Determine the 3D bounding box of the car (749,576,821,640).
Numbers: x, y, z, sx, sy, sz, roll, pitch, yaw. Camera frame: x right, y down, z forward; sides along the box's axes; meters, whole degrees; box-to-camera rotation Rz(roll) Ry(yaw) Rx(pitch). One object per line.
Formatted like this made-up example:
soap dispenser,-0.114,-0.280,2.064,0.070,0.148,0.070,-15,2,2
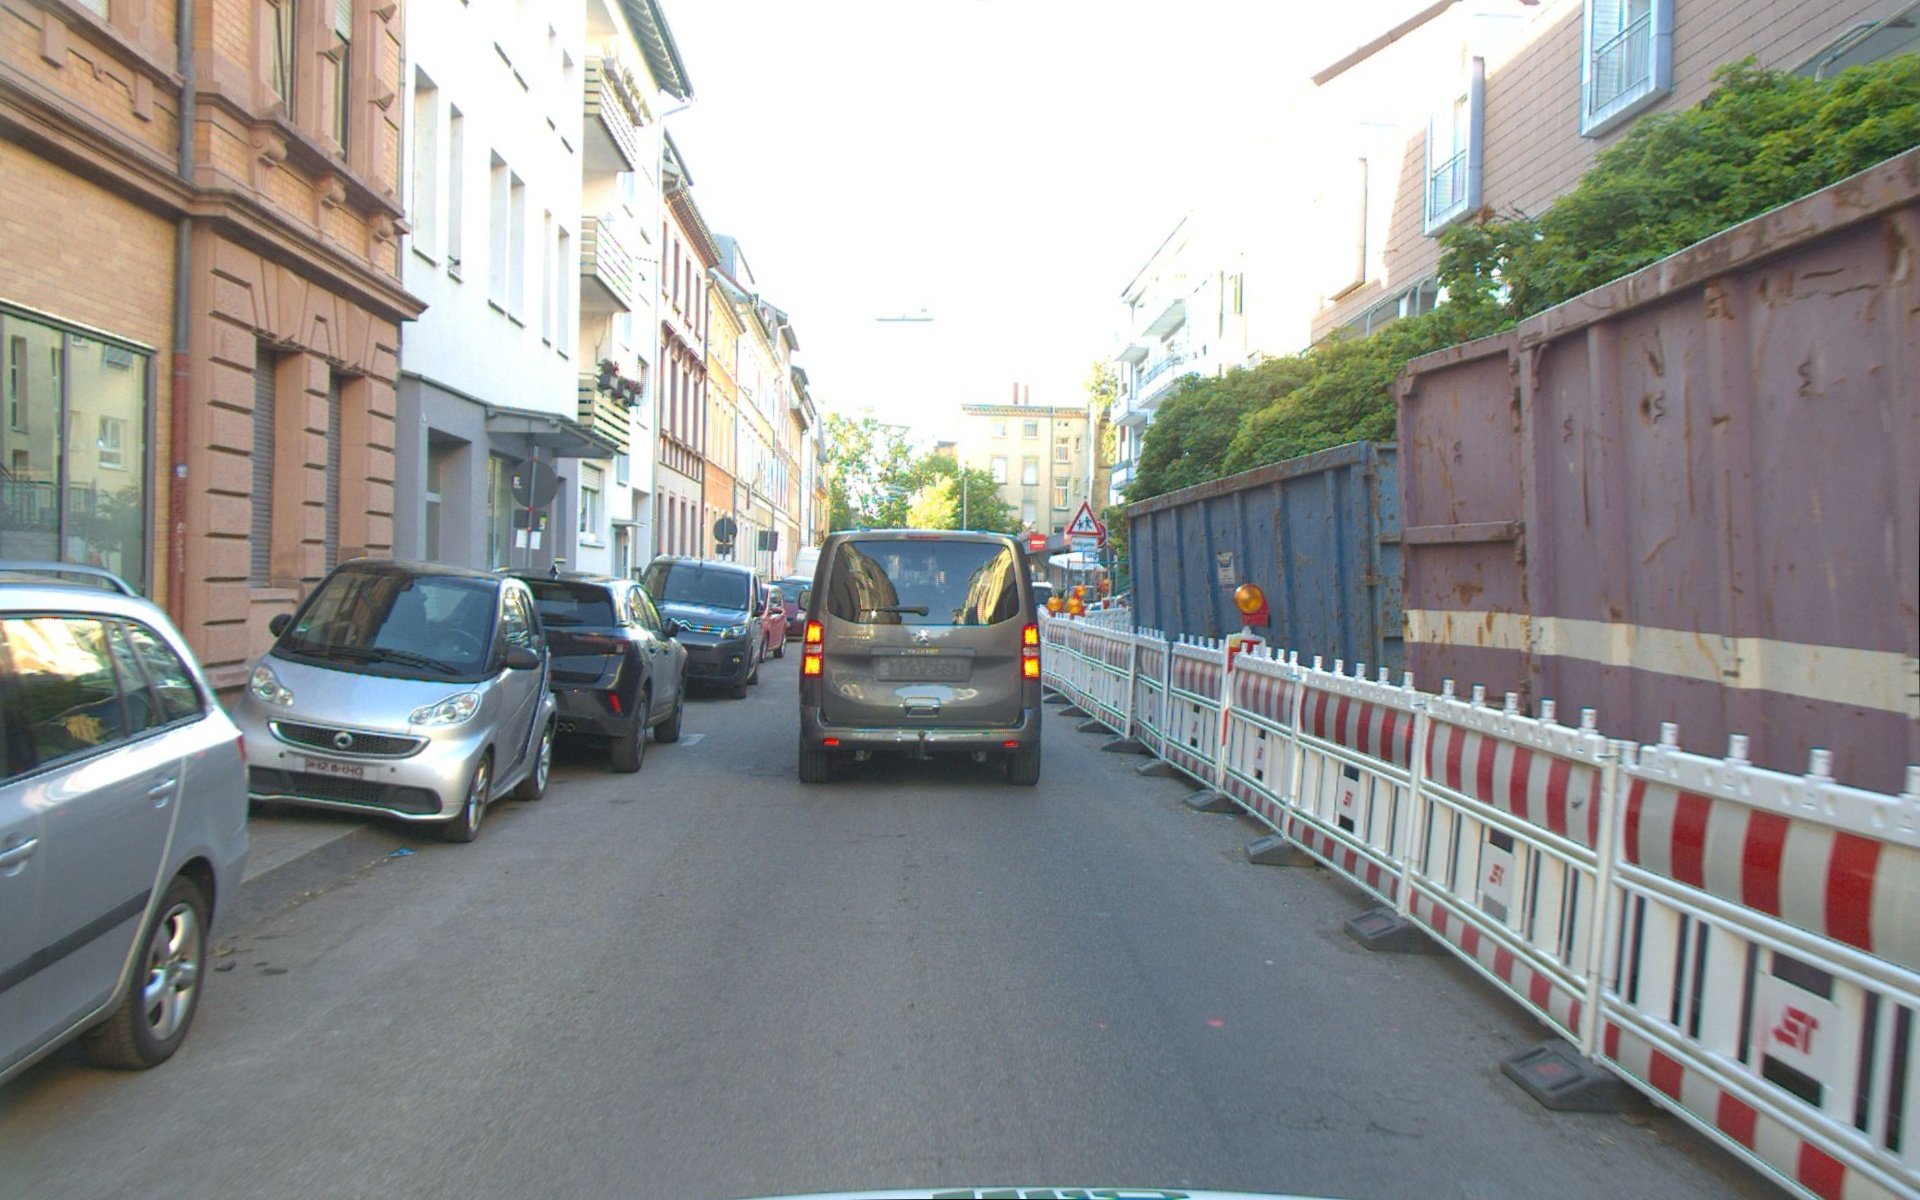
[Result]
car,-4.558,0.185,43.434,1.625,1.473,3.283,5,0,-4

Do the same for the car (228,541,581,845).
car,-3.410,0.498,10.608,1.368,1.616,2.792,3,1,-3

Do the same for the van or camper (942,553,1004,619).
van or camper,0.479,-0.622,70.626,2.058,2.647,7.506,0,1,-4

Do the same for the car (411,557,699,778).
car,-3.387,0.487,14.552,1.706,1.627,4.012,2,1,-3

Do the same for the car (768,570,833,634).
car,-4.661,0.026,48.624,1.678,1.672,3.976,4,1,-4

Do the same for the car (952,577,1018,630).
car,0.780,0.097,54.529,1.689,1.640,4.584,1,0,-5

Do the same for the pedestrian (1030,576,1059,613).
pedestrian,4.075,-0.283,79.682,0.925,1.750,1.049,0,1,-37

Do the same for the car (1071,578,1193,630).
car,5.757,0.135,55.652,3.818,1.635,1.693,1,0,-4

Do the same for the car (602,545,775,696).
car,-3.760,0.238,23.661,1.954,1.891,4.581,2,1,-4

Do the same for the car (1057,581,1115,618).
car,5.188,-0.022,67.909,1.567,1.440,3.229,1,1,20

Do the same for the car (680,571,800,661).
car,-4.342,0.284,33.056,1.635,1.510,3.607,6,1,2

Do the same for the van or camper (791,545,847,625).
van or camper,-5.084,-0.556,59.945,1.911,2.695,7.134,0,1,-5

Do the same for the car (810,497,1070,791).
car,-0.252,0.272,13.645,1.821,2.049,3.998,0,1,-3

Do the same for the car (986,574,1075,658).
car,1.536,0.311,37.311,1.713,1.712,4.525,2,1,-1

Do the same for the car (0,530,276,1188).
car,-2.964,0.572,3.691,1.525,1.534,3.594,4,1,-5

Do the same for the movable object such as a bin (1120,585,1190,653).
movable object such as a bin,4.228,0.420,35.836,1.236,1.400,0.794,3,0,-28
